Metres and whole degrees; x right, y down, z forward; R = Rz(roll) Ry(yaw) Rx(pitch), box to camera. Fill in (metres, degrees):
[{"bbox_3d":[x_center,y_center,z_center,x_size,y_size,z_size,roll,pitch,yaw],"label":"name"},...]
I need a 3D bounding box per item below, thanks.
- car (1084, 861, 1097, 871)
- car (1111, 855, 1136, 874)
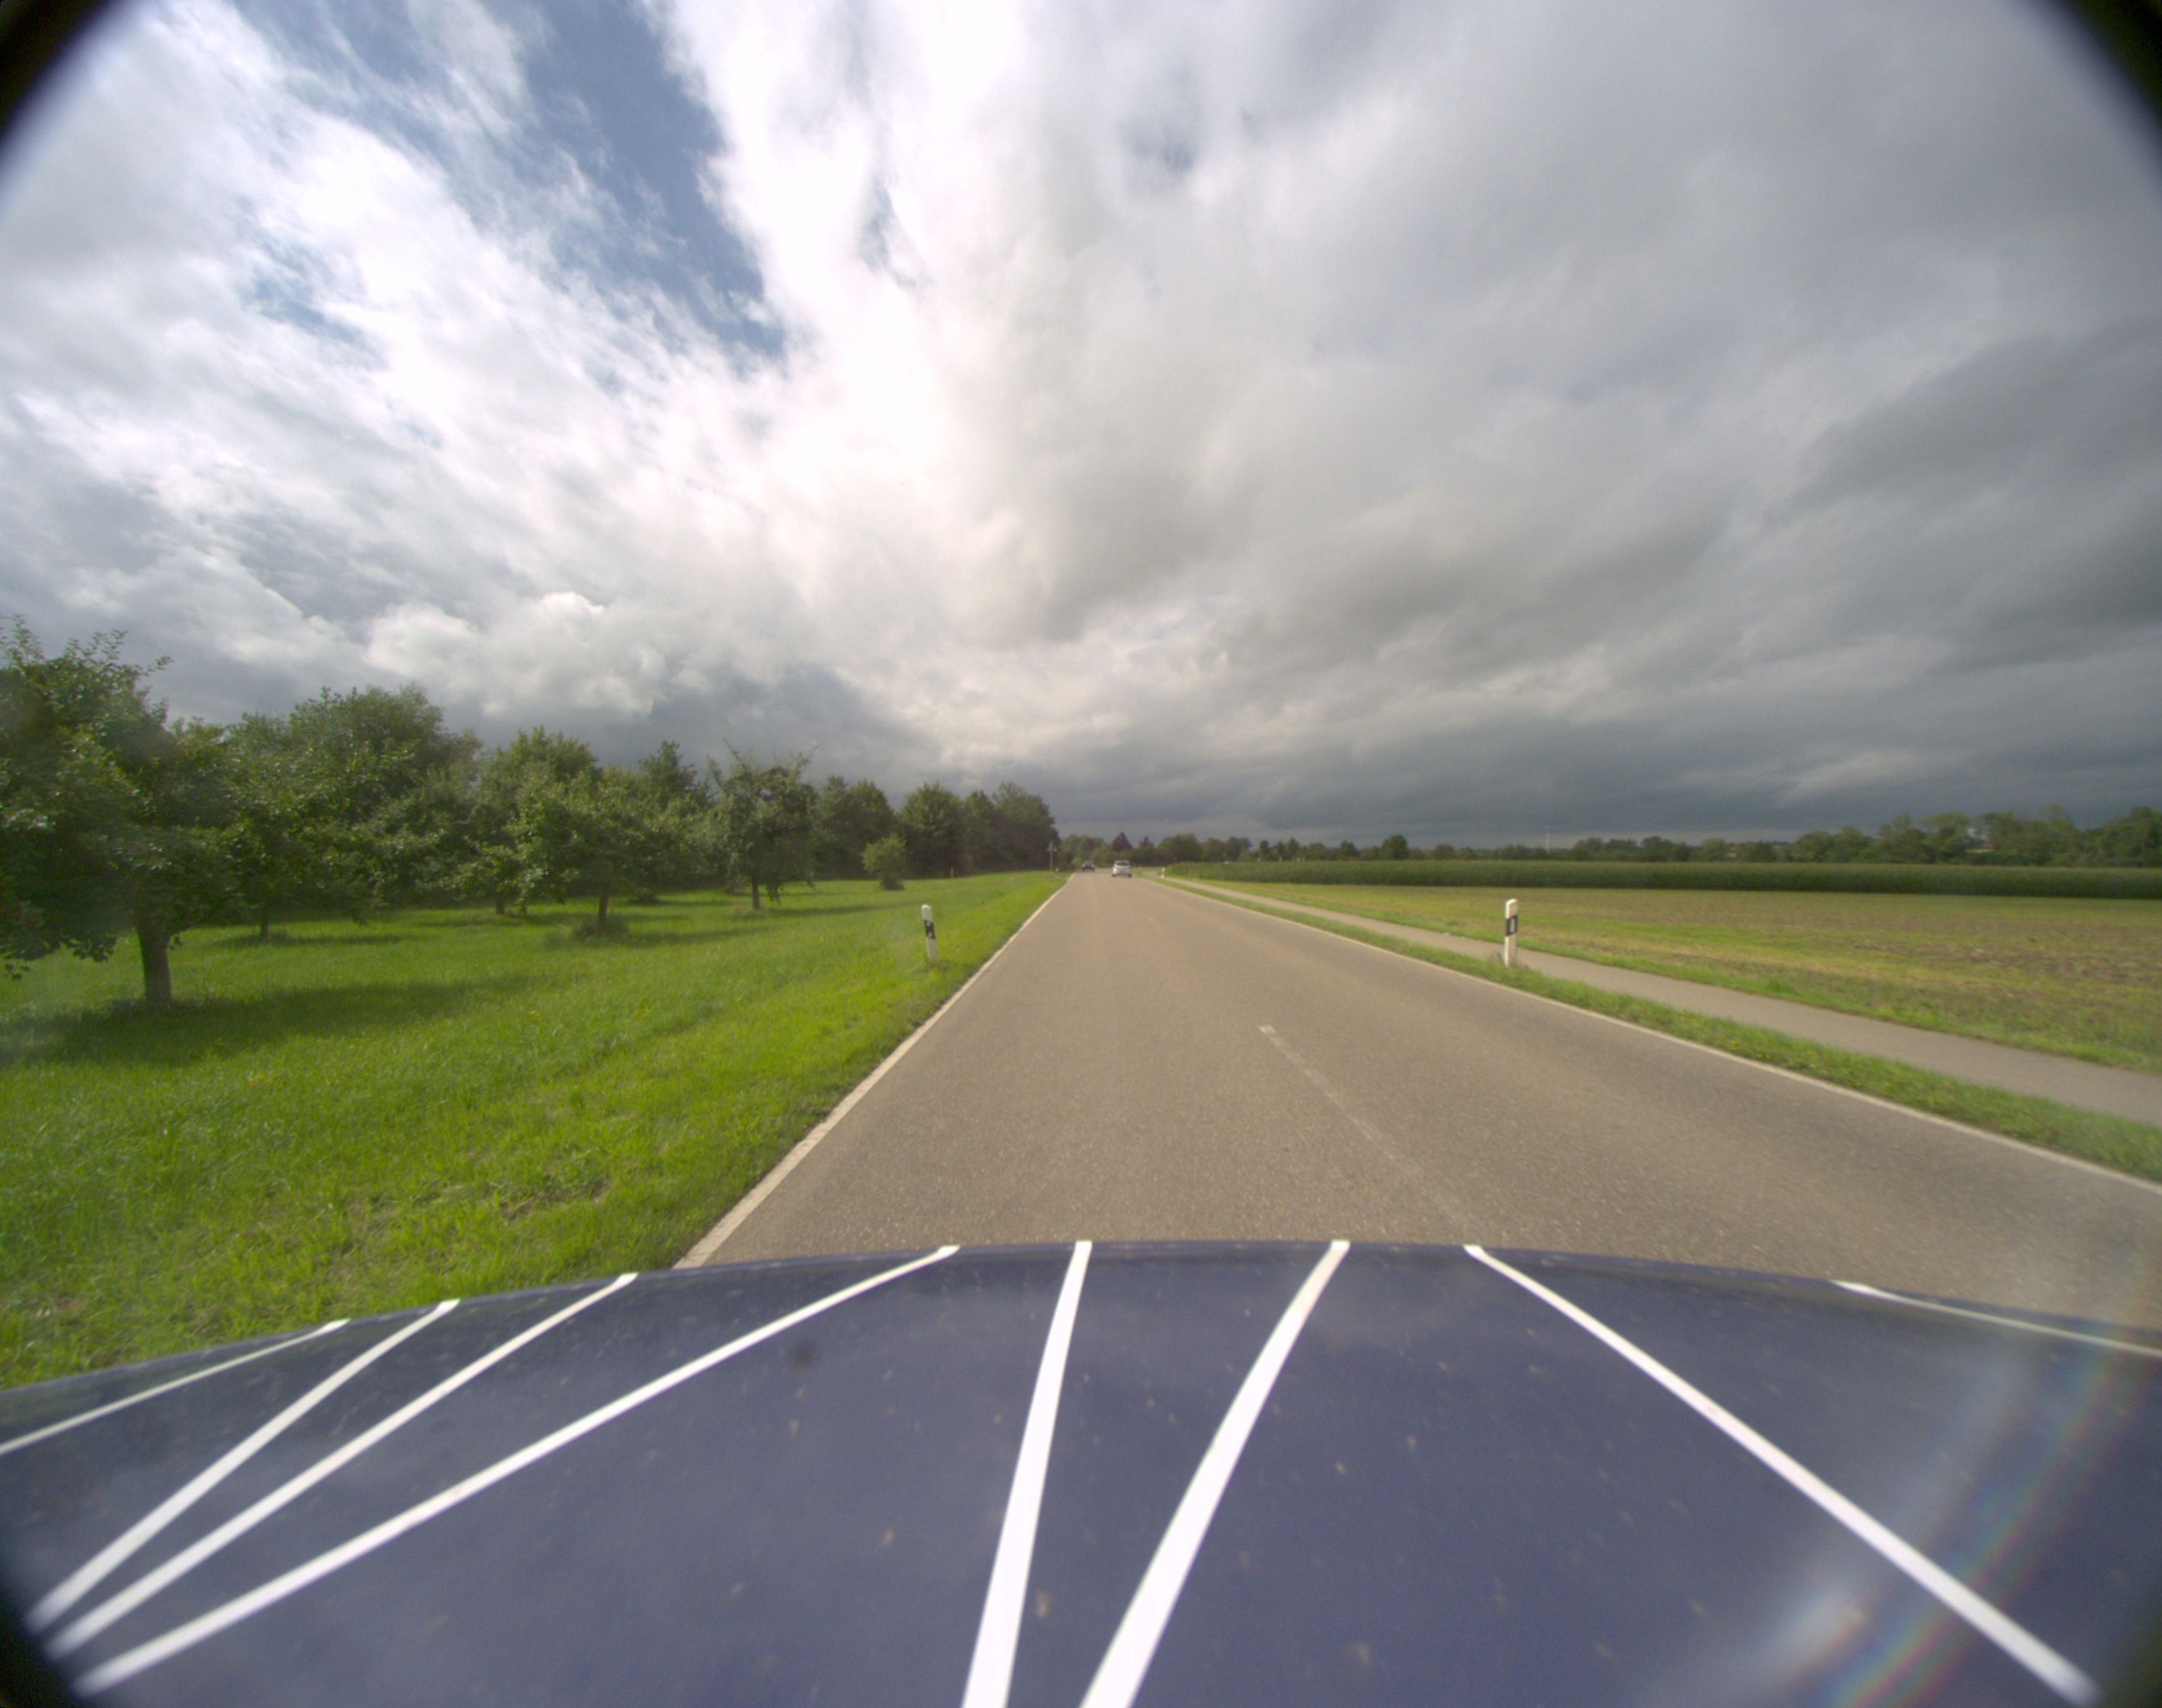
[{"bbox_3d":[1.569,1.874,122.311,1.998,1.594,4.000,-1,0,1],"label":"car"},{"bbox_3d":[3.907,0.950,70.684,2.087,1.716,4.561,1,0,1],"label":"car"}]
